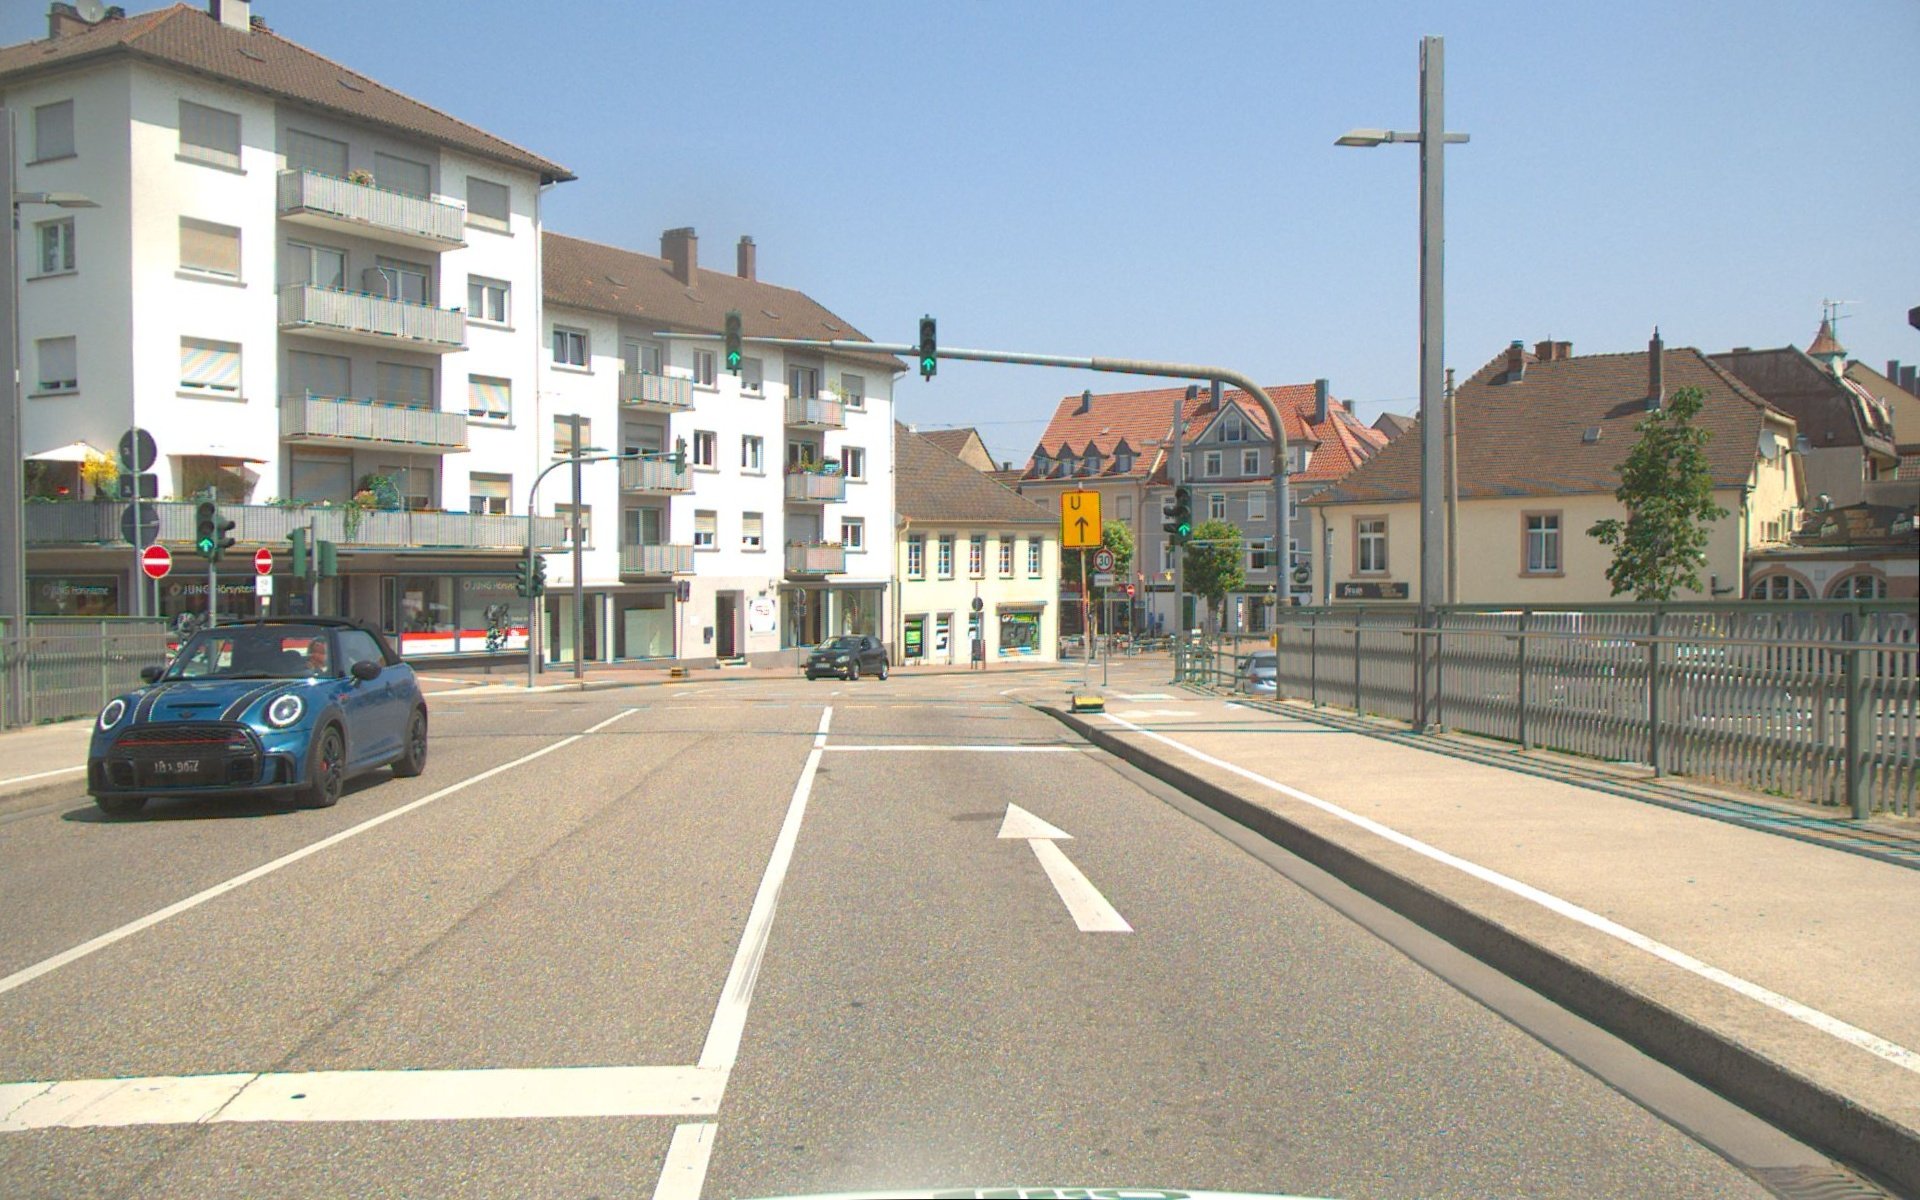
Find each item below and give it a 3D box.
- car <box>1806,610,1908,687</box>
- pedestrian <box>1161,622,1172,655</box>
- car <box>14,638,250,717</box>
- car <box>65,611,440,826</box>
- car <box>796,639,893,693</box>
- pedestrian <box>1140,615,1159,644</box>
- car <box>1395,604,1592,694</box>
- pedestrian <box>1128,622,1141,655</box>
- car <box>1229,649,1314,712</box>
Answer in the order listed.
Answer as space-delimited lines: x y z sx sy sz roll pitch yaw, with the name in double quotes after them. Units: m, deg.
25.591 1.334 47.131 1.633 2.049 3.974 1 1 43 "car"
12.909 2.387 103.275 0.597 2.049 0.555 1 0 9 "pedestrian"
-17.125 1.597 34.244 4.277 1.445 1.703 -2 0 15 "car"
-5.601 0.857 13.595 1.624 1.465 3.752 -2 -1 -3 "car"
-3.618 2.063 52.448 1.641 1.514 3.956 -3 -1 18 "car"
13.796 2.131 120.090 1.012 2.015 1.018 1 0 32 "pedestrian"
16.669 1.467 51.767 5.511 2.674 2.237 0 0 31 "car"
10.835 2.381 102.817 0.752 2.049 0.562 1 0 9 "pedestrian"
8.249 2.108 44.122 1.715 1.497 4.255 1 -1 4 "car"
